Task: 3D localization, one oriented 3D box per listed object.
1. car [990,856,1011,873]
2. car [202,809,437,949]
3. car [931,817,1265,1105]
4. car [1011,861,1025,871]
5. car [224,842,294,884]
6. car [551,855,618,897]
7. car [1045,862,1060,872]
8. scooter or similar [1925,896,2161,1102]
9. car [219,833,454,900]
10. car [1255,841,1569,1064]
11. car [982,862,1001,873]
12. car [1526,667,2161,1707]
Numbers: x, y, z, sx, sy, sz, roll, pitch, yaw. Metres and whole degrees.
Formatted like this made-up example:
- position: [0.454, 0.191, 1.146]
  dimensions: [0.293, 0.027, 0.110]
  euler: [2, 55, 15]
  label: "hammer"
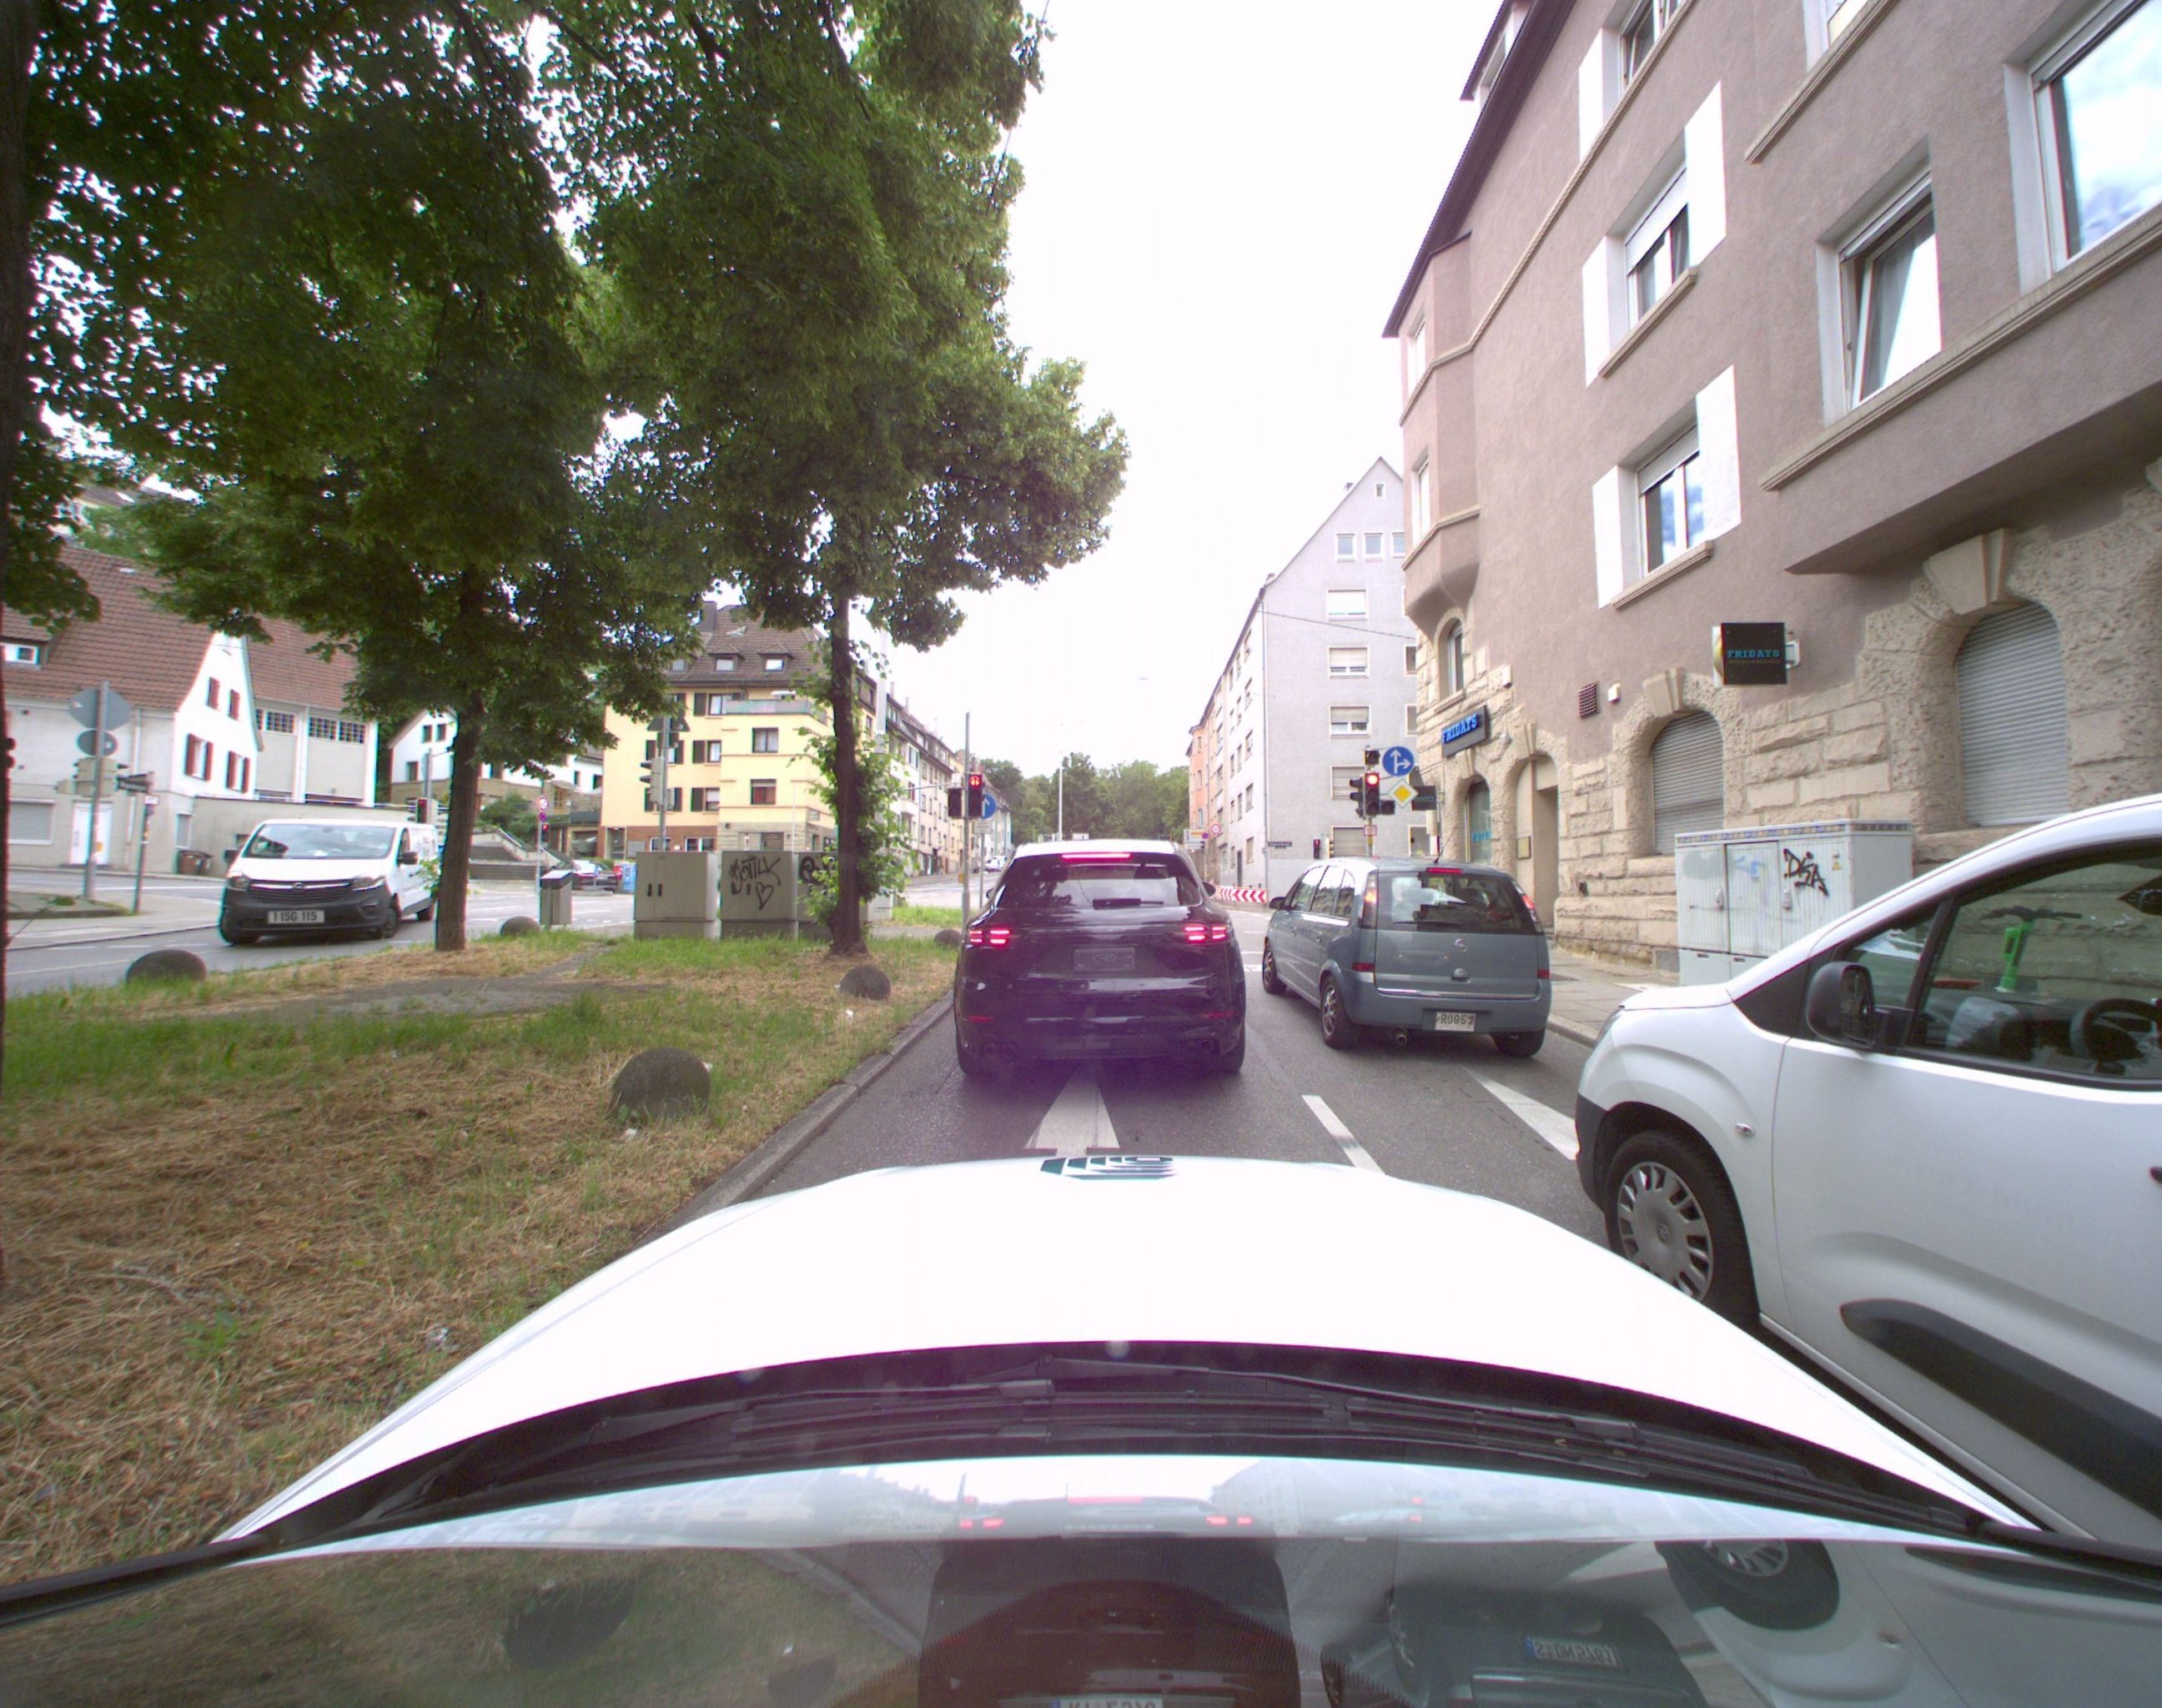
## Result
- position: [-10.336, 1.353, 104.824]
  dimensions: [2.008, 2.045, 4.669]
  euler: [0, -1, 2]
  label: "car"
- position: [-12.751, 0.337, 14.060]
  dimensions: [2.007, 1.945, 5.253]
  euler: [0, 0, -33]
  label: "car"
- position: [0.161, 0.652, 6.833]
  dimensions: [1.948, 1.674, 4.001]
  euler: [-1, -1, 2]
  label: "car"
- position: [-9.673, 1.854, 125.365]
  dimensions: [1.682, 1.538, 3.815]
  euler: [0, -1, 2]
  label: "car"
- position: [-32.160, 0.351, 31.845]
  dimensions: [3.019, 1.405, 1.681]
  euler: [2, -4, 42]
  label: "car"
- position: [-23.612, 1.012, 38.691]
  dimensions: [3.477, 1.596, 1.881]
  euler: [7, 4, 44]
  label: "car"
- position: [-4.124, 1.852, 119.781]
  dimensions: [1.854, 1.388, 4.096]
  euler: [0, 0, 2]
  label: "car"
- position: [6.437, 0.857, 5.268]
  dimensions: [0.524, 1.104, 1.424]
  euler: [-1, -1, 4]
  label: "scooter or similar"
- position: [-19.839, 0.362, 21.934]
  dimensions: [4.261, 1.594, 1.681]
  euler: [2, -1, -17]
  label: "car"
- position: [2.868, 0.747, 7.933]
  dimensions: [1.622, 1.598, 3.670]
  euler: [3, 0, 2]
  label: "car"
- position: [-10.858, 1.619, 99.384]
  dimensions: [1.732, 1.387, 3.815]
  euler: [0, 0, 2]
  label: "car"
- position: [2.842, 0.603, 1.032]
  dimensions: [1.969, 1.775, 4.676]
  euler: [3, 0, 0]
  label: "car"
